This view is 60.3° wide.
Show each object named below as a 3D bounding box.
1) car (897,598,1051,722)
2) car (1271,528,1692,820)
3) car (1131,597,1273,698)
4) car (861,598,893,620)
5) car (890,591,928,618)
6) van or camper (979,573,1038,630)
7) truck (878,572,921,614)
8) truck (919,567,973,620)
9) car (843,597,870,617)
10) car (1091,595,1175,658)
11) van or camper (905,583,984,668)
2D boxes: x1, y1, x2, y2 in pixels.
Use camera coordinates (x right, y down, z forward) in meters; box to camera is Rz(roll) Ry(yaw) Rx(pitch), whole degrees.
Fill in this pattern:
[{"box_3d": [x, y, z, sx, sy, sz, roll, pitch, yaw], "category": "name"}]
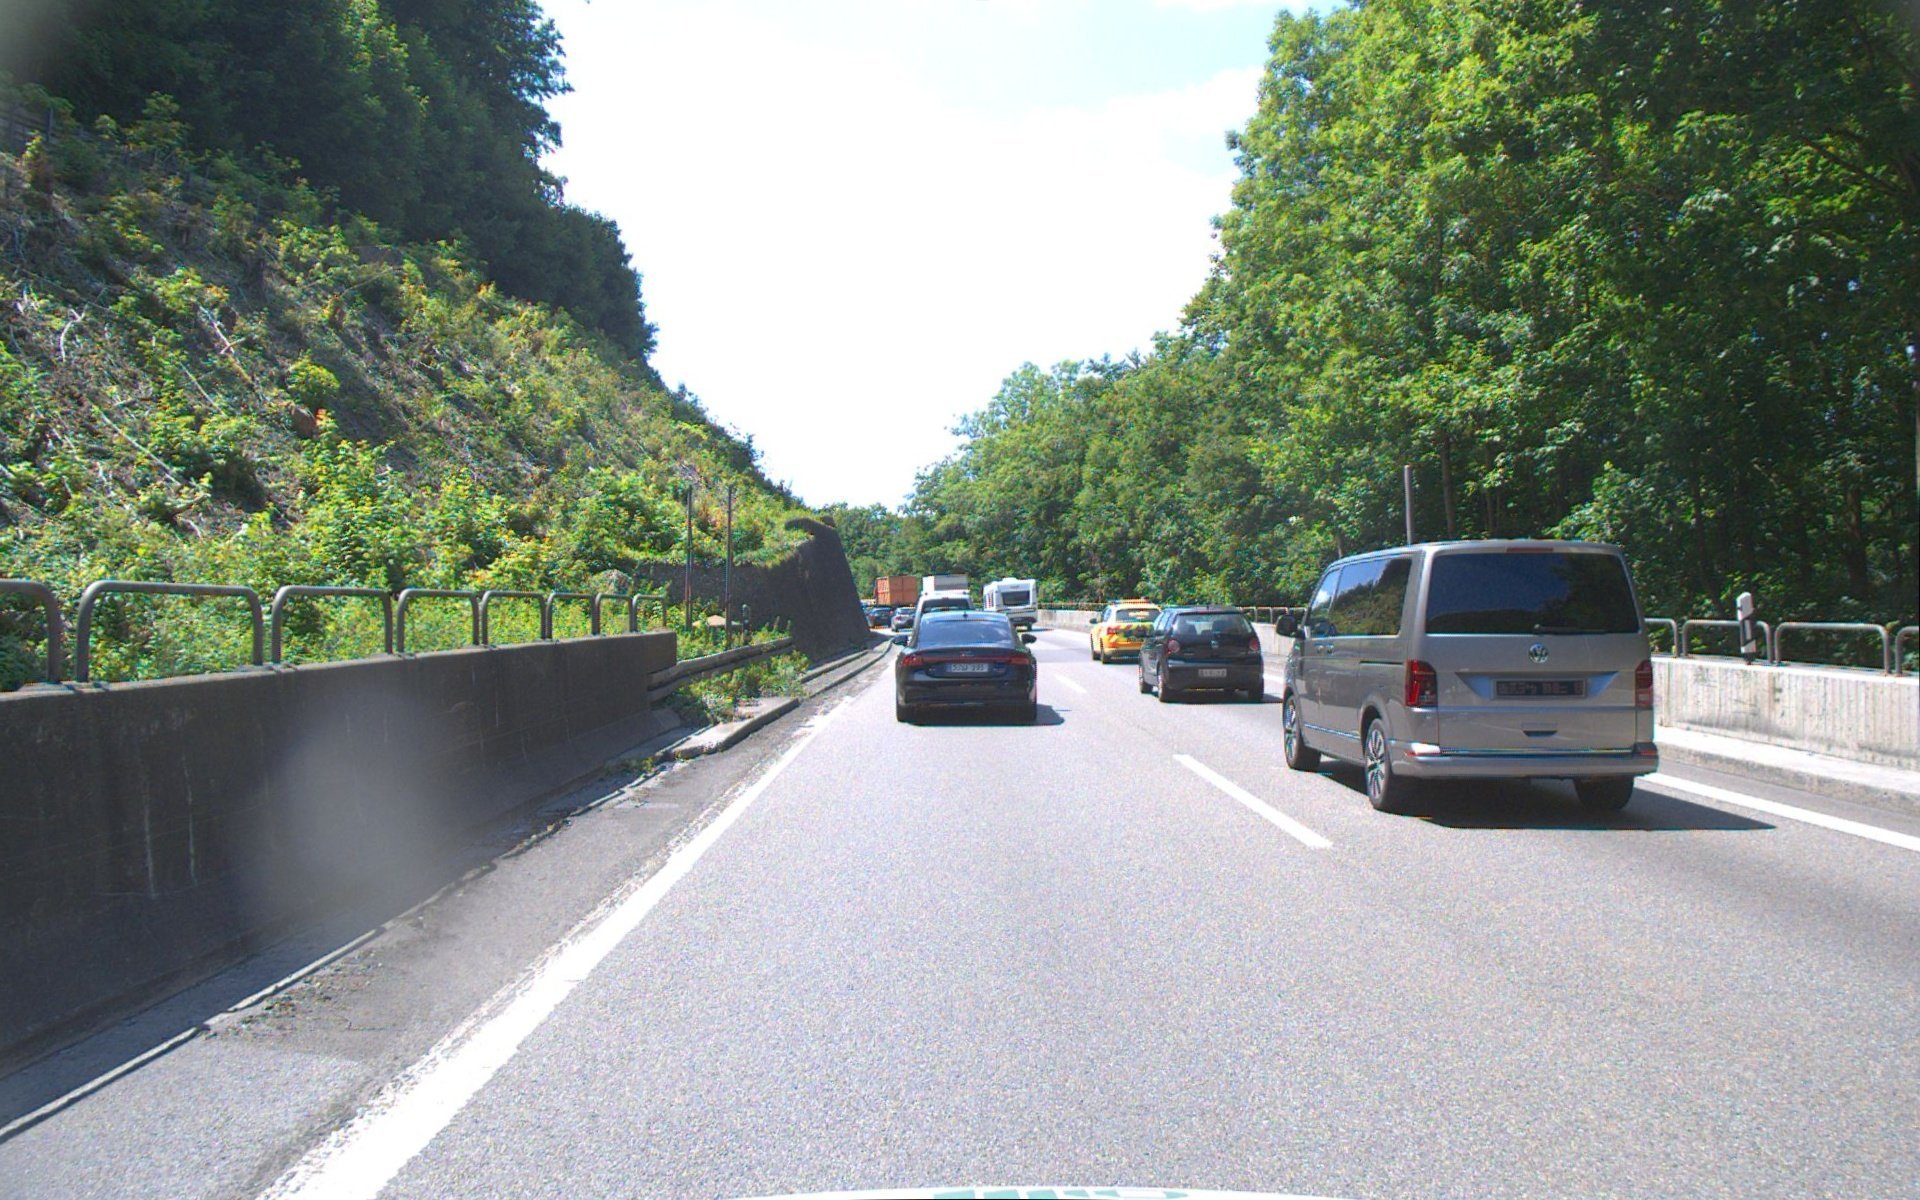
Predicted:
[{"box_3d": [0.097, 0.741, 22.746, 1.867, 1.515, 4.376, 0, 0, -3], "category": "car"}, {"box_3d": [3.977, 0.496, 13.541, 1.901, 1.965, 4.693, 0, 0, -1], "category": "car"}, {"box_3d": [3.813, 0.706, 26.661, 1.650, 1.484, 3.999, -1, 0, -1], "category": "car"}, {"box_3d": [-6.001, 0.624, 119.218, 1.721, 1.598, 3.758, 0, 0, -13], "category": "car"}, {"box_3d": [-3.254, 0.271, 104.584, 1.956, 1.646, 3.993, 1, 0, -8], "category": "car"}, {"box_3d": [2.506, 0.056, 87.456, 2.552, 2.905, 6.330, 0, 0, -4], "category": "van or camper"}, {"box_3d": [-5.405, -0.619, 145.232, 3.103, 3.529, 8.210, 2, 0, -6], "category": "truck"}, {"box_3d": [-1.100, -0.481, 122.937, 2.871, 3.751, 7.709, 2, 0, -9], "category": "truck"}, {"box_3d": [-8.365, 0.588, 133.372, 1.720, 1.598, 3.760, 0, 0, -11], "category": "car"}, {"box_3d": [4.347, 0.640, 42.027, 1.771, 1.503, 4.082, 1, 0, 1], "category": "car"}, {"box_3d": [-0.369, 0.606, 41.093, 1.815, 1.976, 4.165, 1, 0, 0], "category": "van or camper"}]
